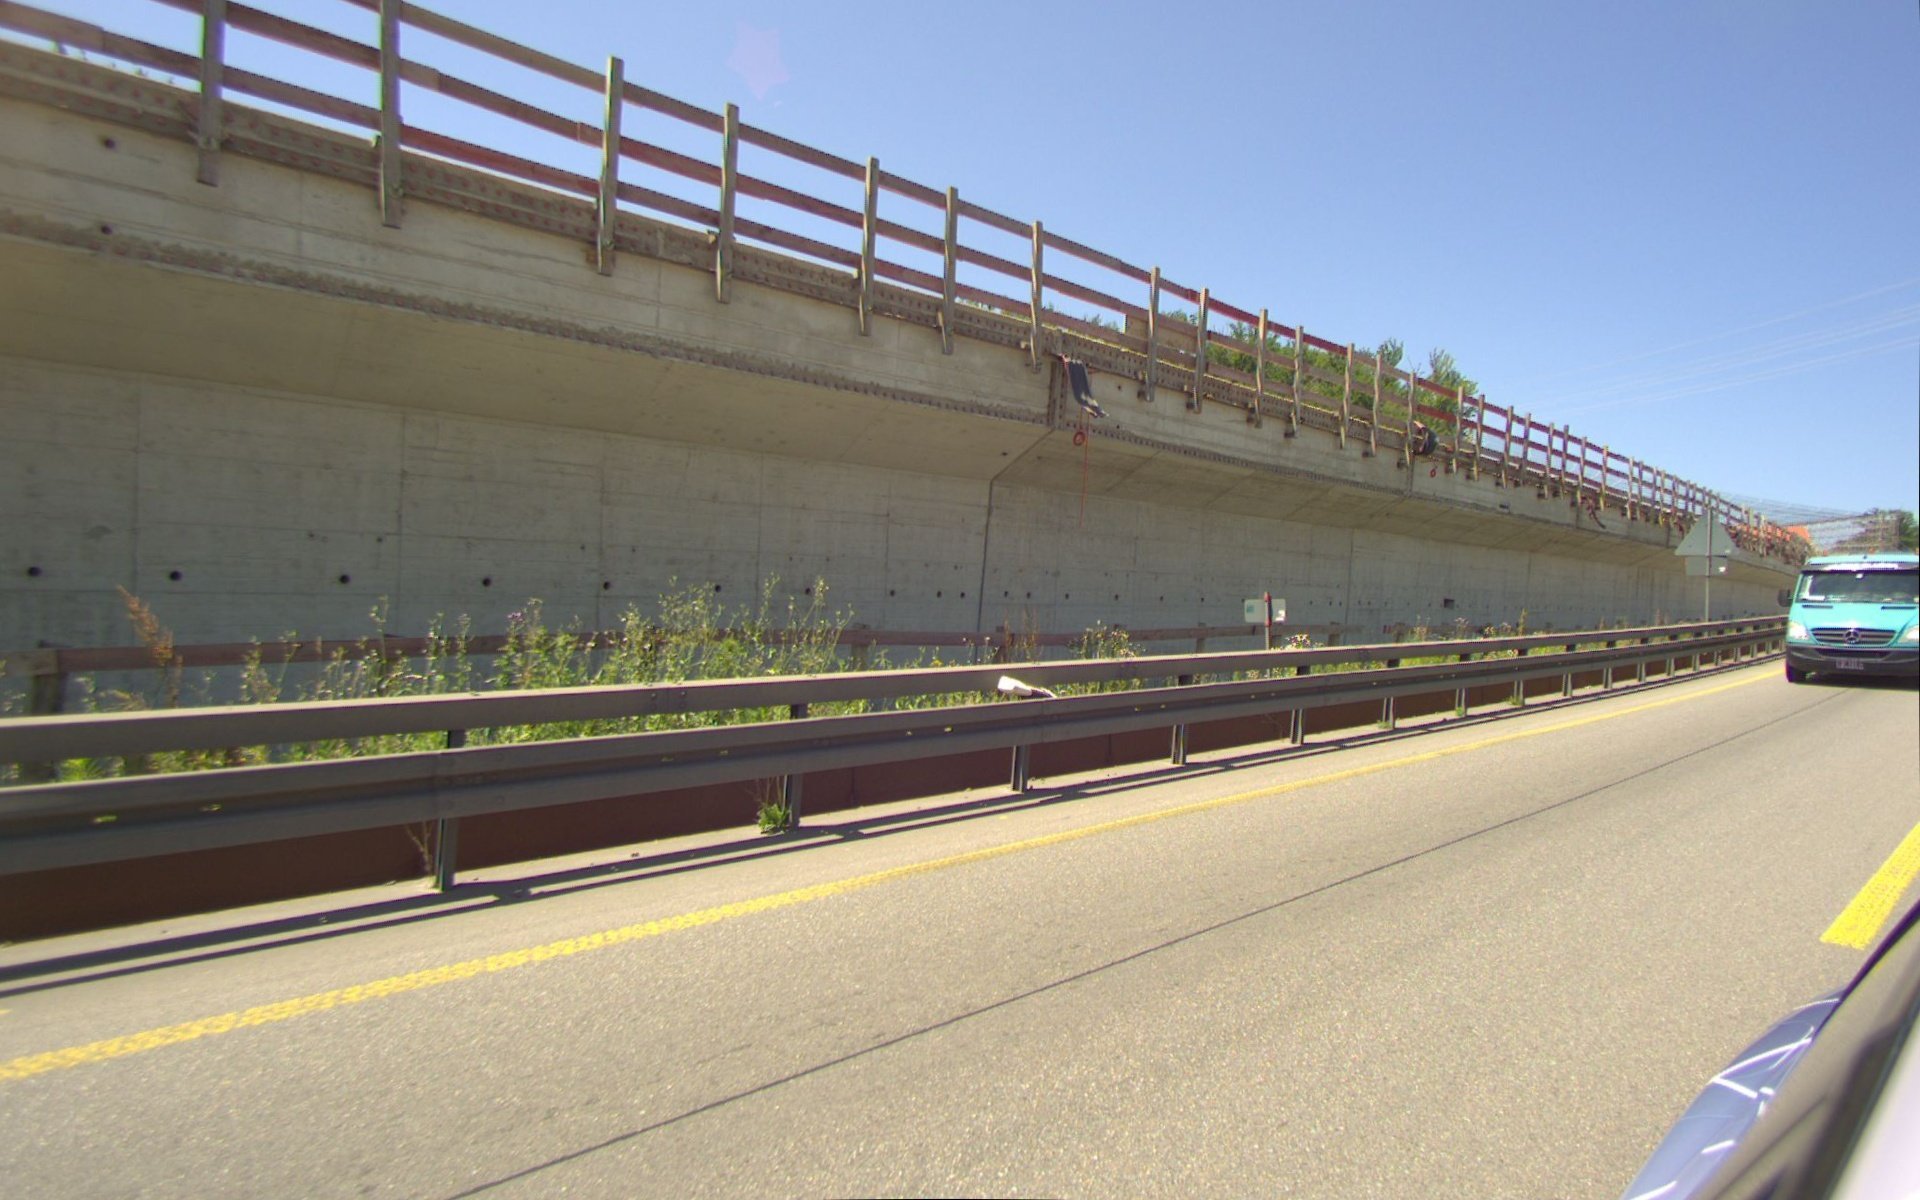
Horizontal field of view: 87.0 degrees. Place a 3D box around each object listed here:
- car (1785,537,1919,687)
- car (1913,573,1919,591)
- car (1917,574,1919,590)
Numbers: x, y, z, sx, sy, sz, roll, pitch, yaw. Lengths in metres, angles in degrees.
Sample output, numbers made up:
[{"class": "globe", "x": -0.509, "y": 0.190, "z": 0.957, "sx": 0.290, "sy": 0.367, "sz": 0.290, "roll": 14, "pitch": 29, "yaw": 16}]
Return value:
[{"class": "car", "x": 17.143, "y": 0.100, "z": 18.583, "sx": 6.787, "sy": 2.354, "sz": 2.214, "roll": -2, "pitch": 2, "yaw": -43}, {"class": "car", "x": 91.492, "y": -1.727, "z": 95.826, "sx": 3.288, "sy": 1.691, "sz": 1.584, "roll": -2, "pitch": 1, "yaw": -42}, {"class": "car", "x": 106.147, "y": -1.981, "z": 110.926, "sx": 3.288, "sy": 1.697, "sz": 1.584, "roll": -2, "pitch": 1, "yaw": -42}]
